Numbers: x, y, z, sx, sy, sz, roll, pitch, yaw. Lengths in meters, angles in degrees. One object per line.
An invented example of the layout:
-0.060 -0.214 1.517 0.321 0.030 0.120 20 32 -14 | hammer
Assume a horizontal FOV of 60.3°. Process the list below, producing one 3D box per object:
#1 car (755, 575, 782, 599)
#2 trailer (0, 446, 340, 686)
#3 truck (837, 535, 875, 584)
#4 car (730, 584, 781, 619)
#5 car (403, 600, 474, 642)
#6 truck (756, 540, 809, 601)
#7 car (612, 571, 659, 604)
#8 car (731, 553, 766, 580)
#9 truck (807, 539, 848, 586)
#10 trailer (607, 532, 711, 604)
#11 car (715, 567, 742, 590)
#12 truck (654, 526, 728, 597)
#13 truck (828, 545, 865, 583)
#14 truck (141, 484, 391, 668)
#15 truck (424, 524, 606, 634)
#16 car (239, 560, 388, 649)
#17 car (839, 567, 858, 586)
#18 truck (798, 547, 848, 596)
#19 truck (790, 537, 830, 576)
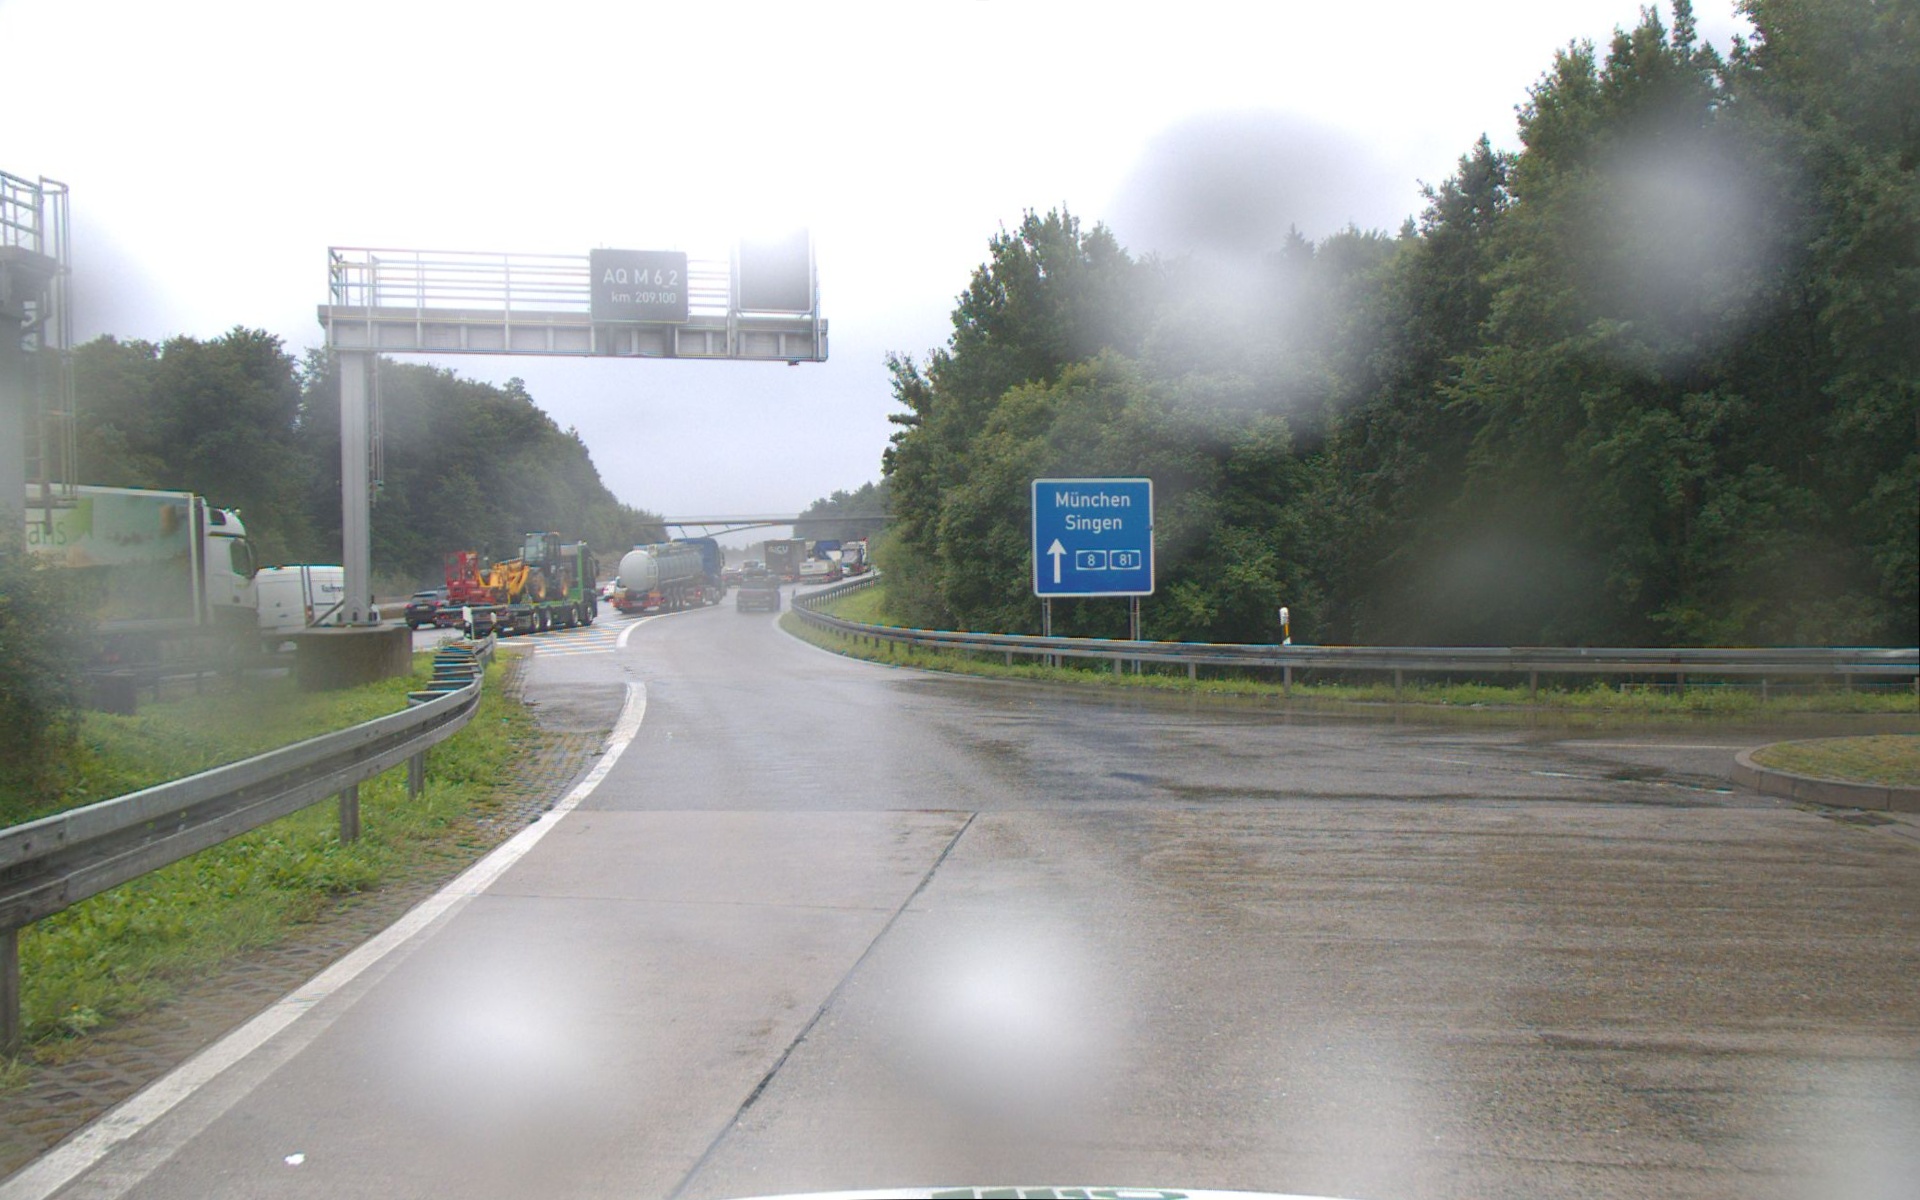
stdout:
-15.993 -1.082 138.329 1.761 1.937 4.000 1 0 0 | car
-17.931 -0.647 35.503 2.857 4.278 13.645 -2 1 5 | trailer
-13.211 -5.078 210.685 4.248 5.864 9.728 1 0 -1 | truck
-10.085 0.077 81.920 1.953 1.665 4.000 1 0 0 | car
-23.266 0.910 73.889 1.749 1.757 4.001 1 0 2 | car
-16.950 -2.741 158.766 3.677 5.595 10.174 1 0 1 | truck
-18.462 -0.727 94.198 1.782 1.797 4.001 -1 1 1 | car
-25.247 -3.940 197.860 3.179 3.055 6.774 1 0 1 | car
-13.208 -3.697 165.857 3.436 4.342 10.600 1 0 -1 | truck
-15.294 -1.711 85.030 2.813 3.345 10.084 -2 2 3 | trailer
-20.371 -1.900 145.719 1.761 1.937 4.000 -2 0 1 | car
-14.879 -2.164 91.842 2.817 3.757 5.060 -2 2 4 | truck
-12.899 -4.100 189.003 3.679 4.040 11.056 1 0 -2 | truck
-17.332 -0.595 41.890 2.857 4.170 6.724 -2 1 5 | truck
-16.487 -0.867 62.482 2.772 3.650 11.805 -3 1 4 | truck
-21.139 0.076 54.450 2.169 2.675 5.847 -2 1 4 | car
-11.874 -2.475 176.040 1.761 1.937 4.000 -2 0 0 | car
-12.350 -2.658 150.172 3.527 4.176 11.559 -2 2 -1 | truck
-17.679 -5.057 195.520 3.503 4.167 10.880 -2 0 1 | truck
